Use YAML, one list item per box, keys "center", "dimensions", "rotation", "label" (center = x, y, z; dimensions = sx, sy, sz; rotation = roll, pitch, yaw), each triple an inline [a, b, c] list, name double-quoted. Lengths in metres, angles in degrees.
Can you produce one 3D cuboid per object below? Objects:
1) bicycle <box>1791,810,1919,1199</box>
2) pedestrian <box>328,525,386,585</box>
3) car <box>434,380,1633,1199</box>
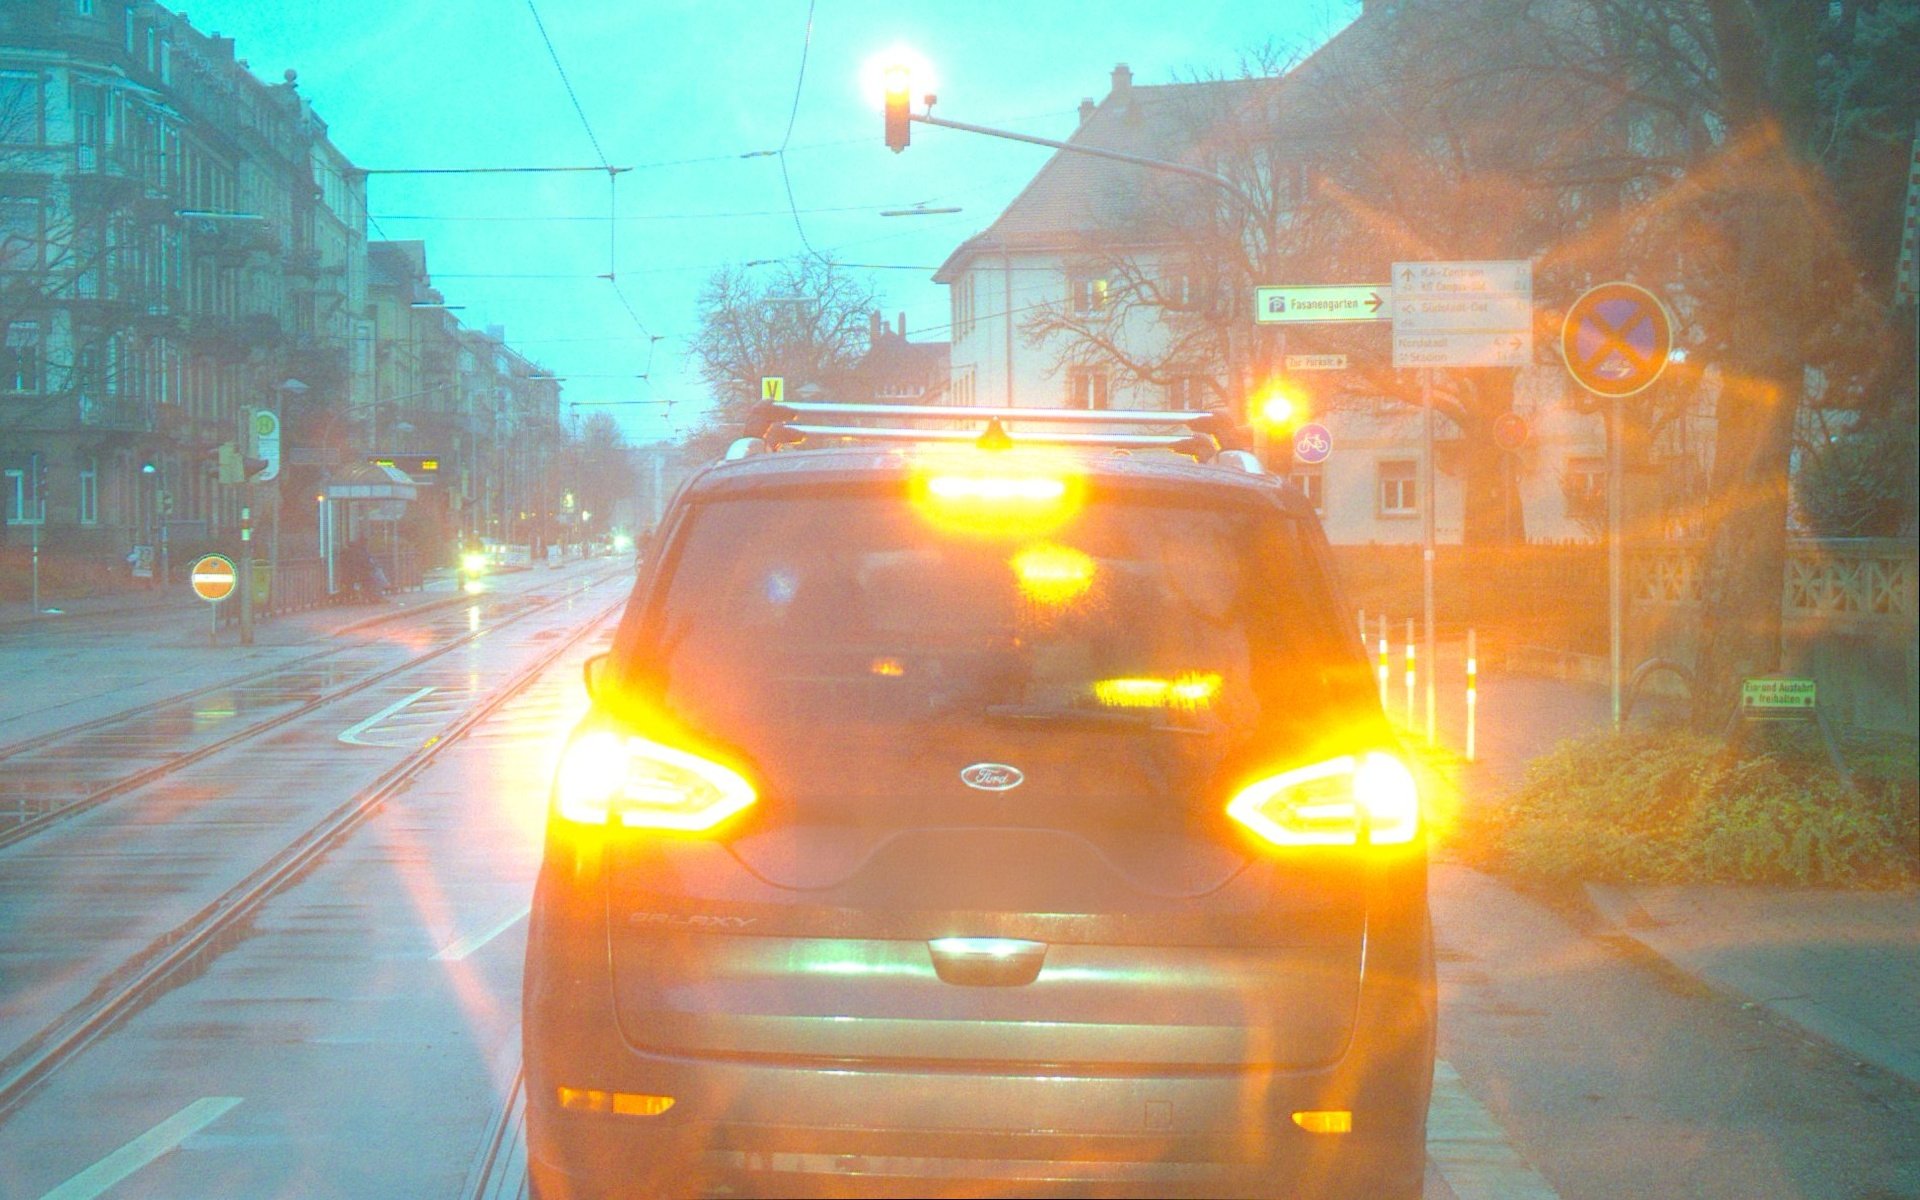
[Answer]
- center: [1.897, 0.955, 4.885]
  dimensions: [0.716, 1.108, 1.942]
  rotation: [4, 1, -8]
  label: "bicycle"
- center: [-12.169, -0.913, 69.369]
  dimensions: [1.047, 1.196, 0.885]
  rotation: [0, 0, -3]
  label: "pedestrian"
- center: [0.061, 0.492, 8.465]
  dimensions: [2.103, 1.810, 4.661]
  rotation: [1, 1, -2]
  label: "car"
